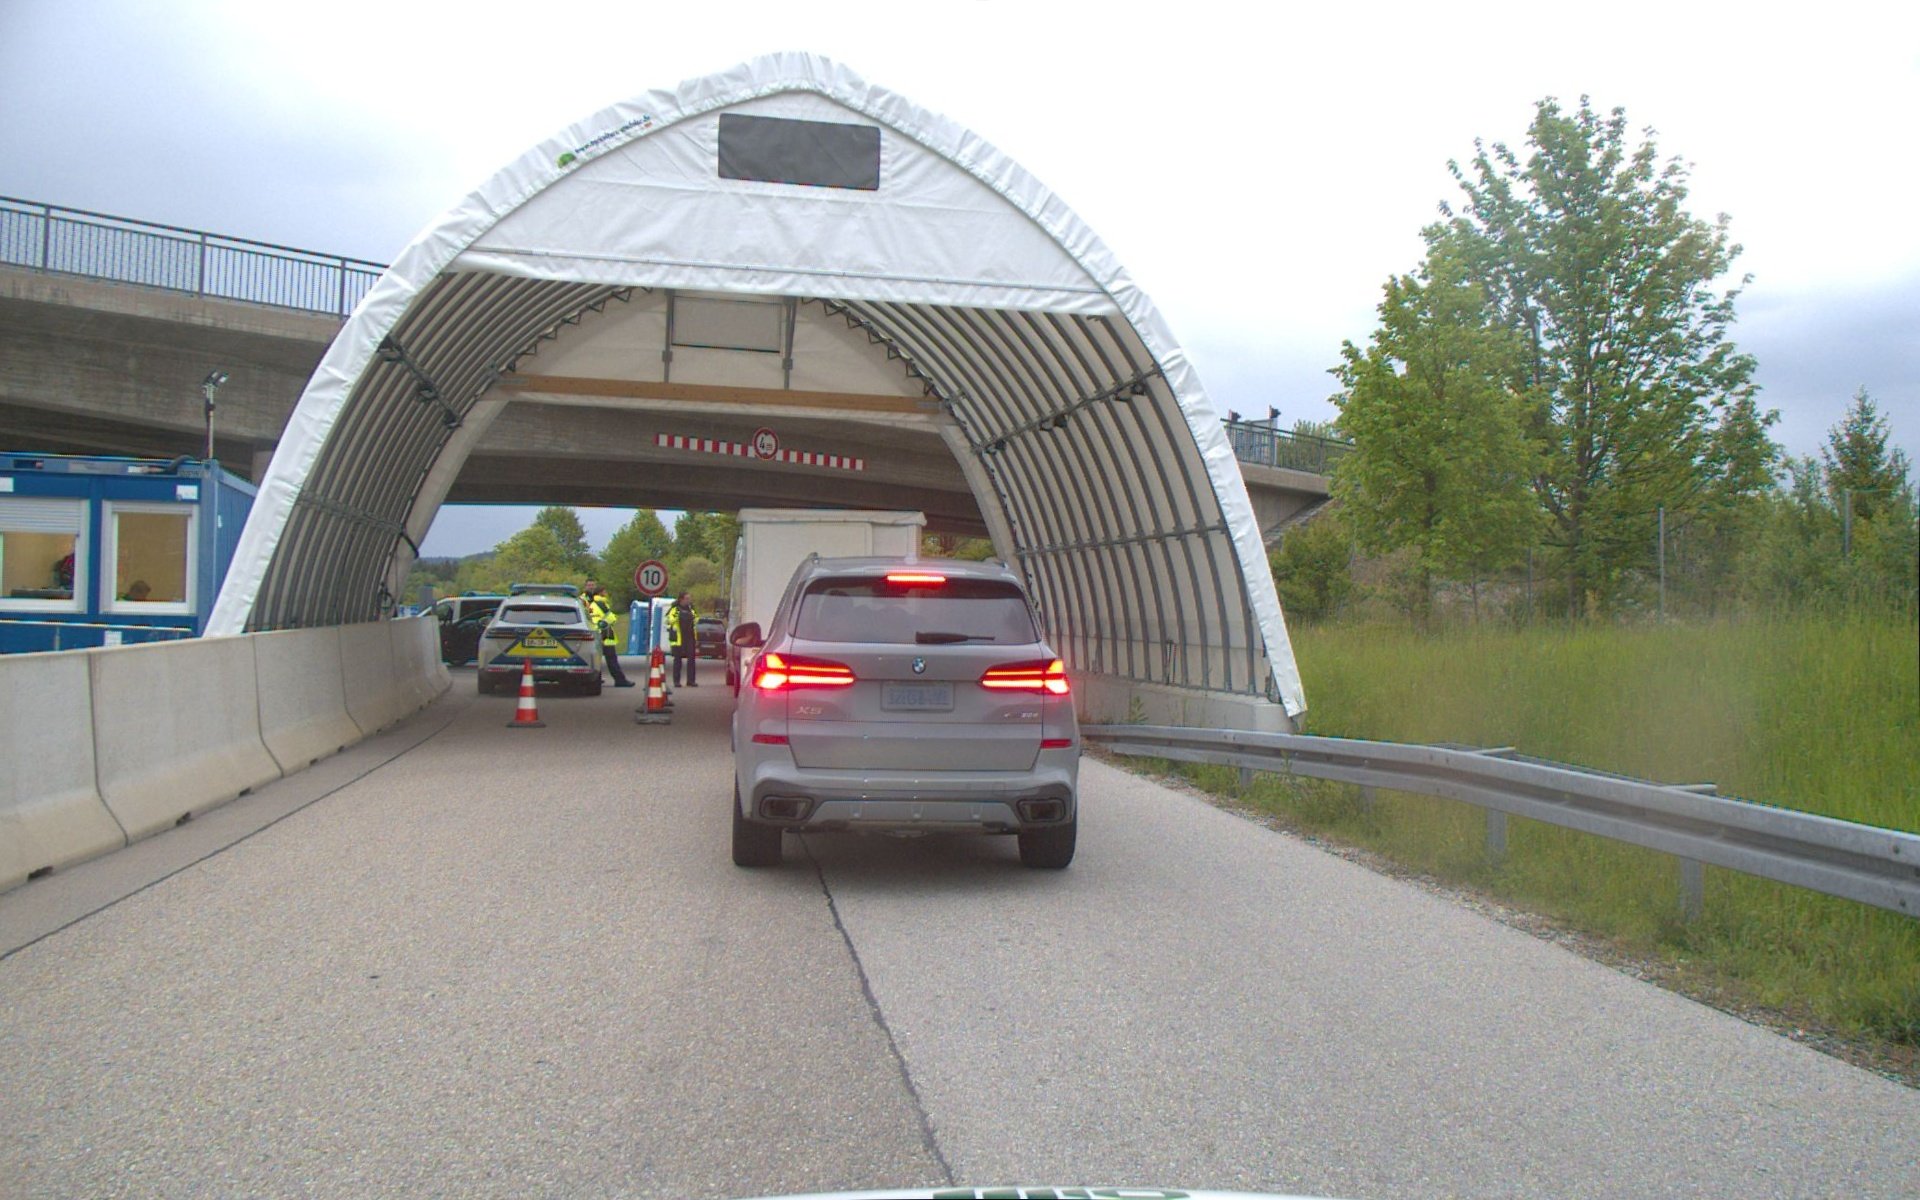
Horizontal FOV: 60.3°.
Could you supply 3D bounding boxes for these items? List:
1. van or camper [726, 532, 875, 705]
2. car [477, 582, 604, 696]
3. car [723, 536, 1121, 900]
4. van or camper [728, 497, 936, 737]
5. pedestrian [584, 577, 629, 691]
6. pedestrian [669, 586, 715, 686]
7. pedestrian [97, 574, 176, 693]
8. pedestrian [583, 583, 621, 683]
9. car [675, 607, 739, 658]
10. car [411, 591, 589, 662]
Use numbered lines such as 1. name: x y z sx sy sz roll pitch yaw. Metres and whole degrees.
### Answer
1. van or camper: -2.757 0.299 27.425 2.065 2.563 5.538 0 0 -10
2. car: -6.750 0.589 26.629 1.846 1.675 3.984 0 0 -15
3. car: -0.454 0.597 10.317 1.957 1.796 3.991 0 0 -9
4. van or camper: -1.848 0.203 21.364 2.189 2.597 6.597 0 0 -9
5. pedestrian: -6.167 0.591 28.824 0.736 1.952 0.760 0 -1 -15
6. pedestrian: -4.738 0.626 29.267 0.766 1.752 0.754 0 -1 -13
7. pedestrian: -9.842 0.394 19.780 0.597 1.397 0.628 0 -1 8
8. pedestrian: -6.466 0.594 29.880 0.597 1.784 0.665 0 -1 -6
9. car: -8.991 1.131 58.521 1.959 1.752 3.883 0 0 -13
10. car: -13.513 0.765 48.711 4.703 2.049 1.842 0 -1 7
